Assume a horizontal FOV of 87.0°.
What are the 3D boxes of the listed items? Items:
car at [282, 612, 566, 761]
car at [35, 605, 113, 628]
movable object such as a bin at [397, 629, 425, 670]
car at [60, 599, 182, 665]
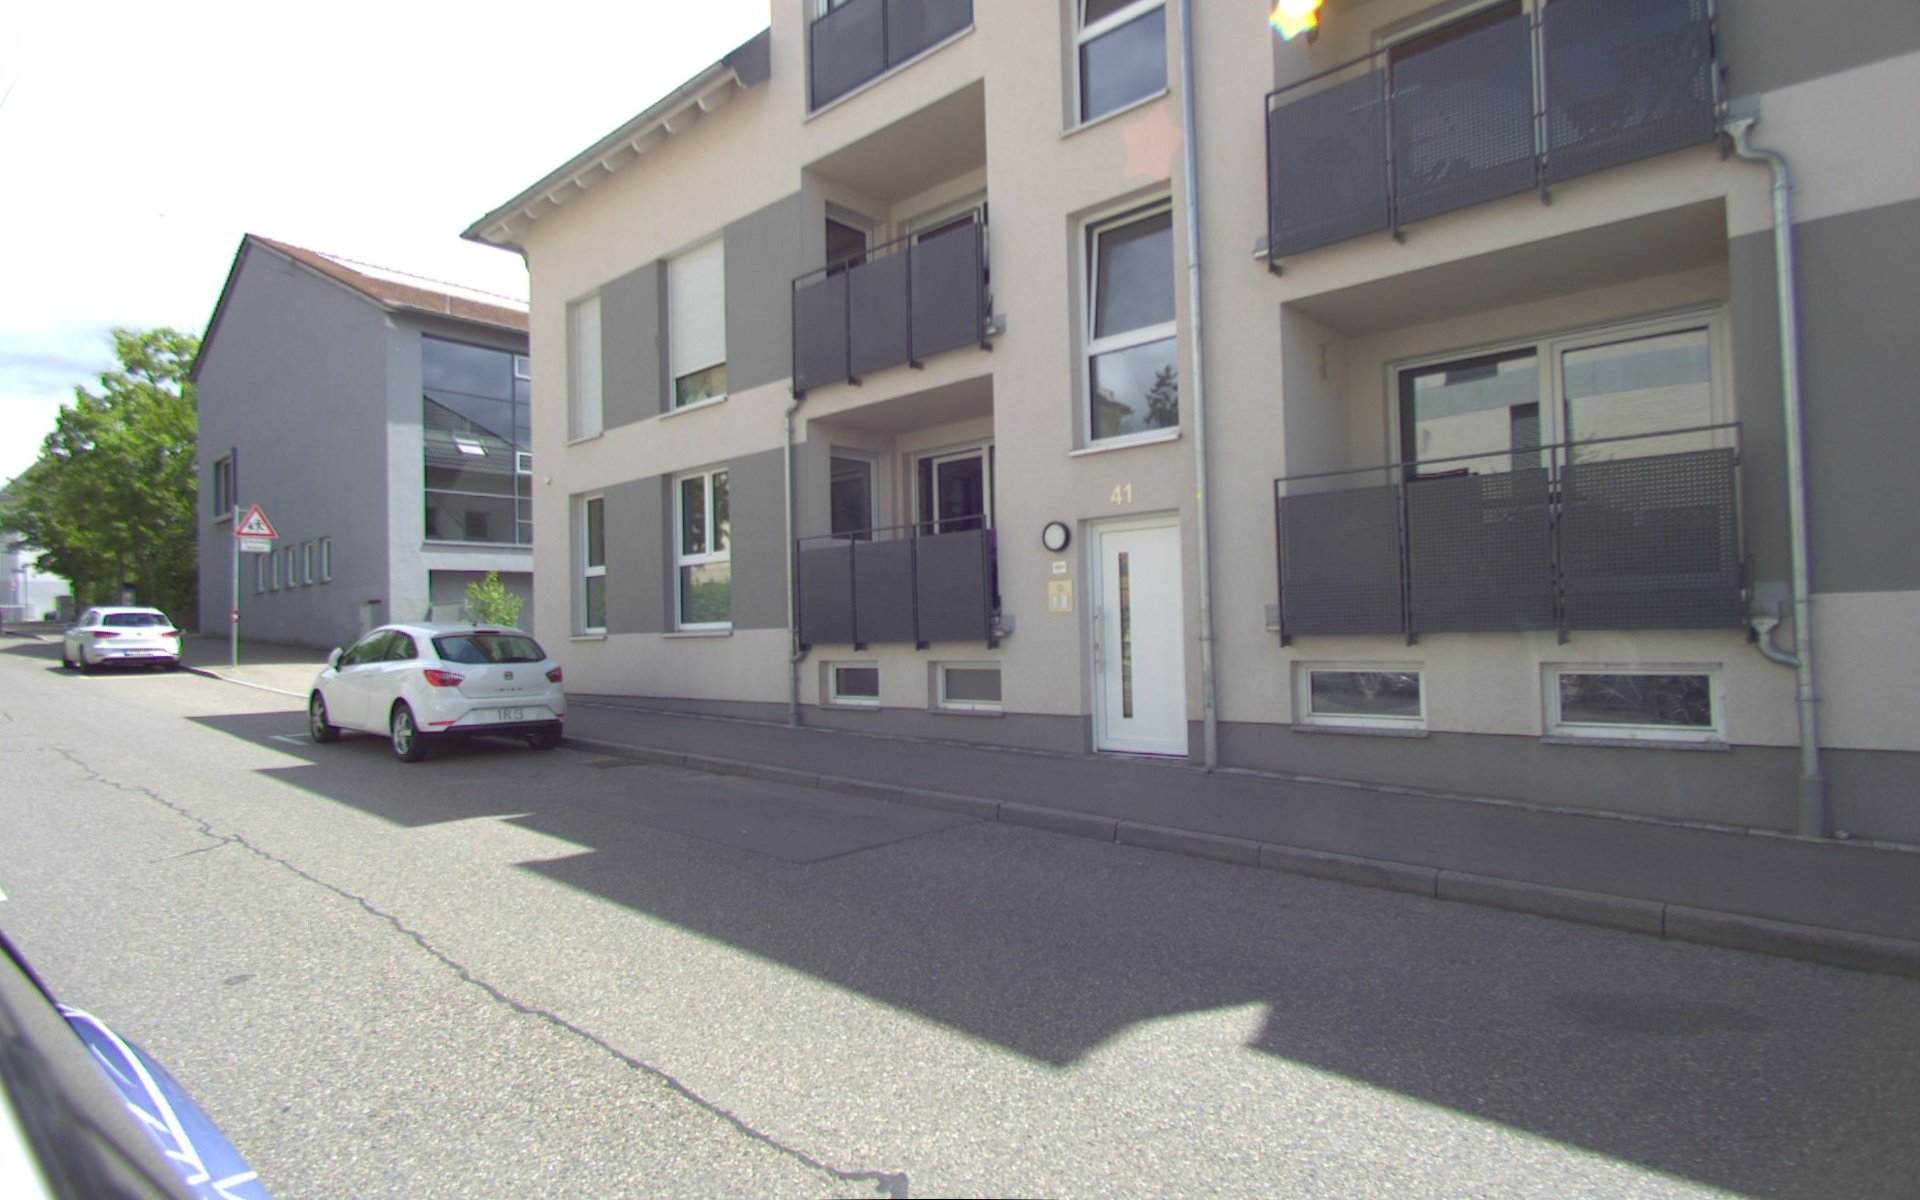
[{"bbox_3d":[-6.228,0.860,11.609,3.695,1.429,1.630,-1,-1,40],"label":"car"},{"bbox_3d":[-62.858,1.149,71.821,1.857,1.488,3.945,-4,-3,41],"label":"car"},{"bbox_3d":[-12.834,1.149,23.676,0.399,0.936,0.449,0,-1,40],"label":"movable object such as a bin"},{"bbox_3d":[-19.440,0.740,23.396,3.865,1.401,1.679,-2,-2,43],"label":"car"}]
